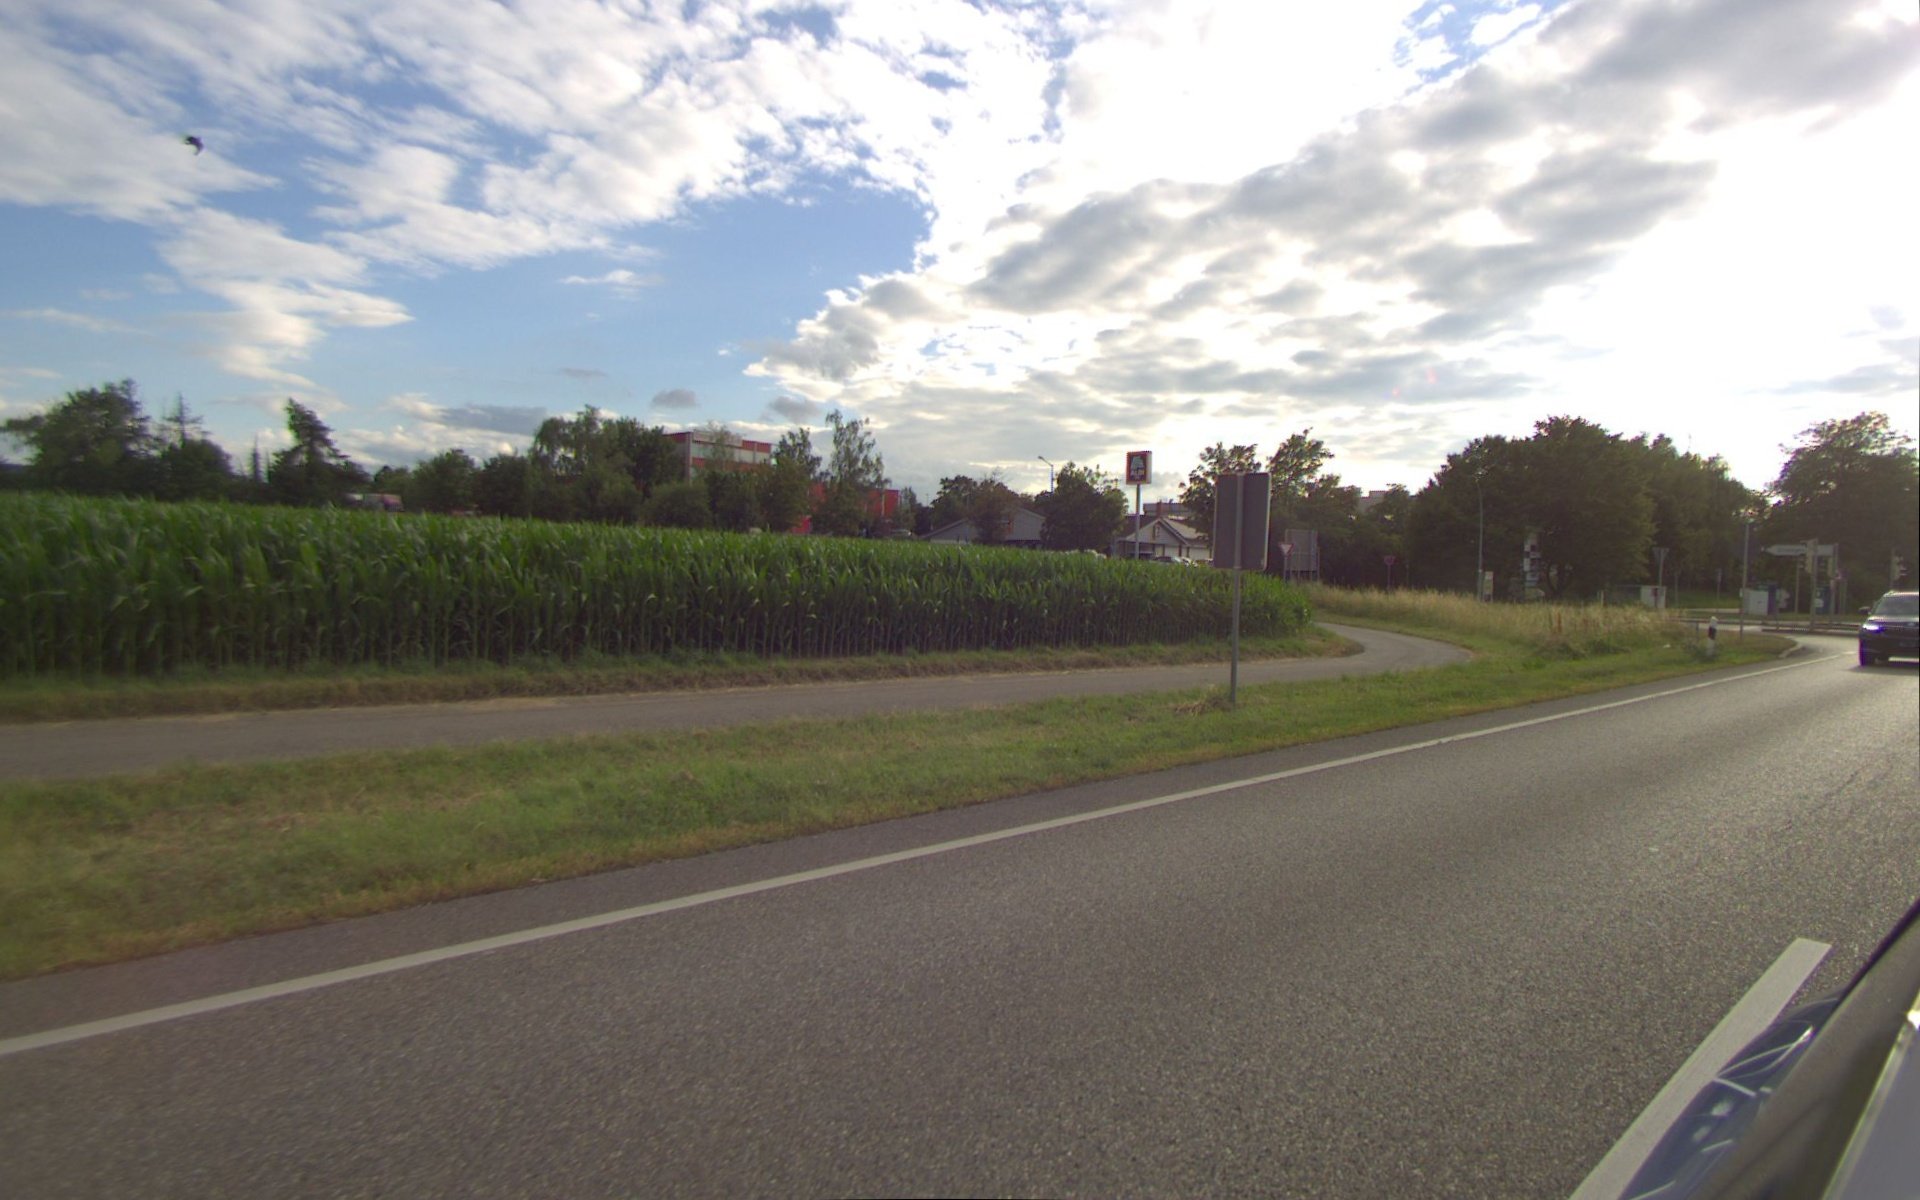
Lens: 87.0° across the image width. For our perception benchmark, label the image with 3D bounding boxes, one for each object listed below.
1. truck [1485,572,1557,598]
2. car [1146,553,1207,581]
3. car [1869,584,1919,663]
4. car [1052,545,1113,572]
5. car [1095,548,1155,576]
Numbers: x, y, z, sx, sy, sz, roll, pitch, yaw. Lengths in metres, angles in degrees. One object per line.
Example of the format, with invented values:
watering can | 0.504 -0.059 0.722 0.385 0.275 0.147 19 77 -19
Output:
truck | 44.097 -1.189 79.601 4.601 2.022 1.816 1 1 14
car | 17.079 -2.630 79.923 1.928 1.906 4.299 0 5 -43
car | 22.020 0.488 22.813 4.404 1.670 1.847 0 0 -42
car | 9.881 -3.308 81.258 1.993 2.038 5.531 5 4 41
car | 12.878 -2.979 79.272 1.928 1.906 4.299 0 5 -43
